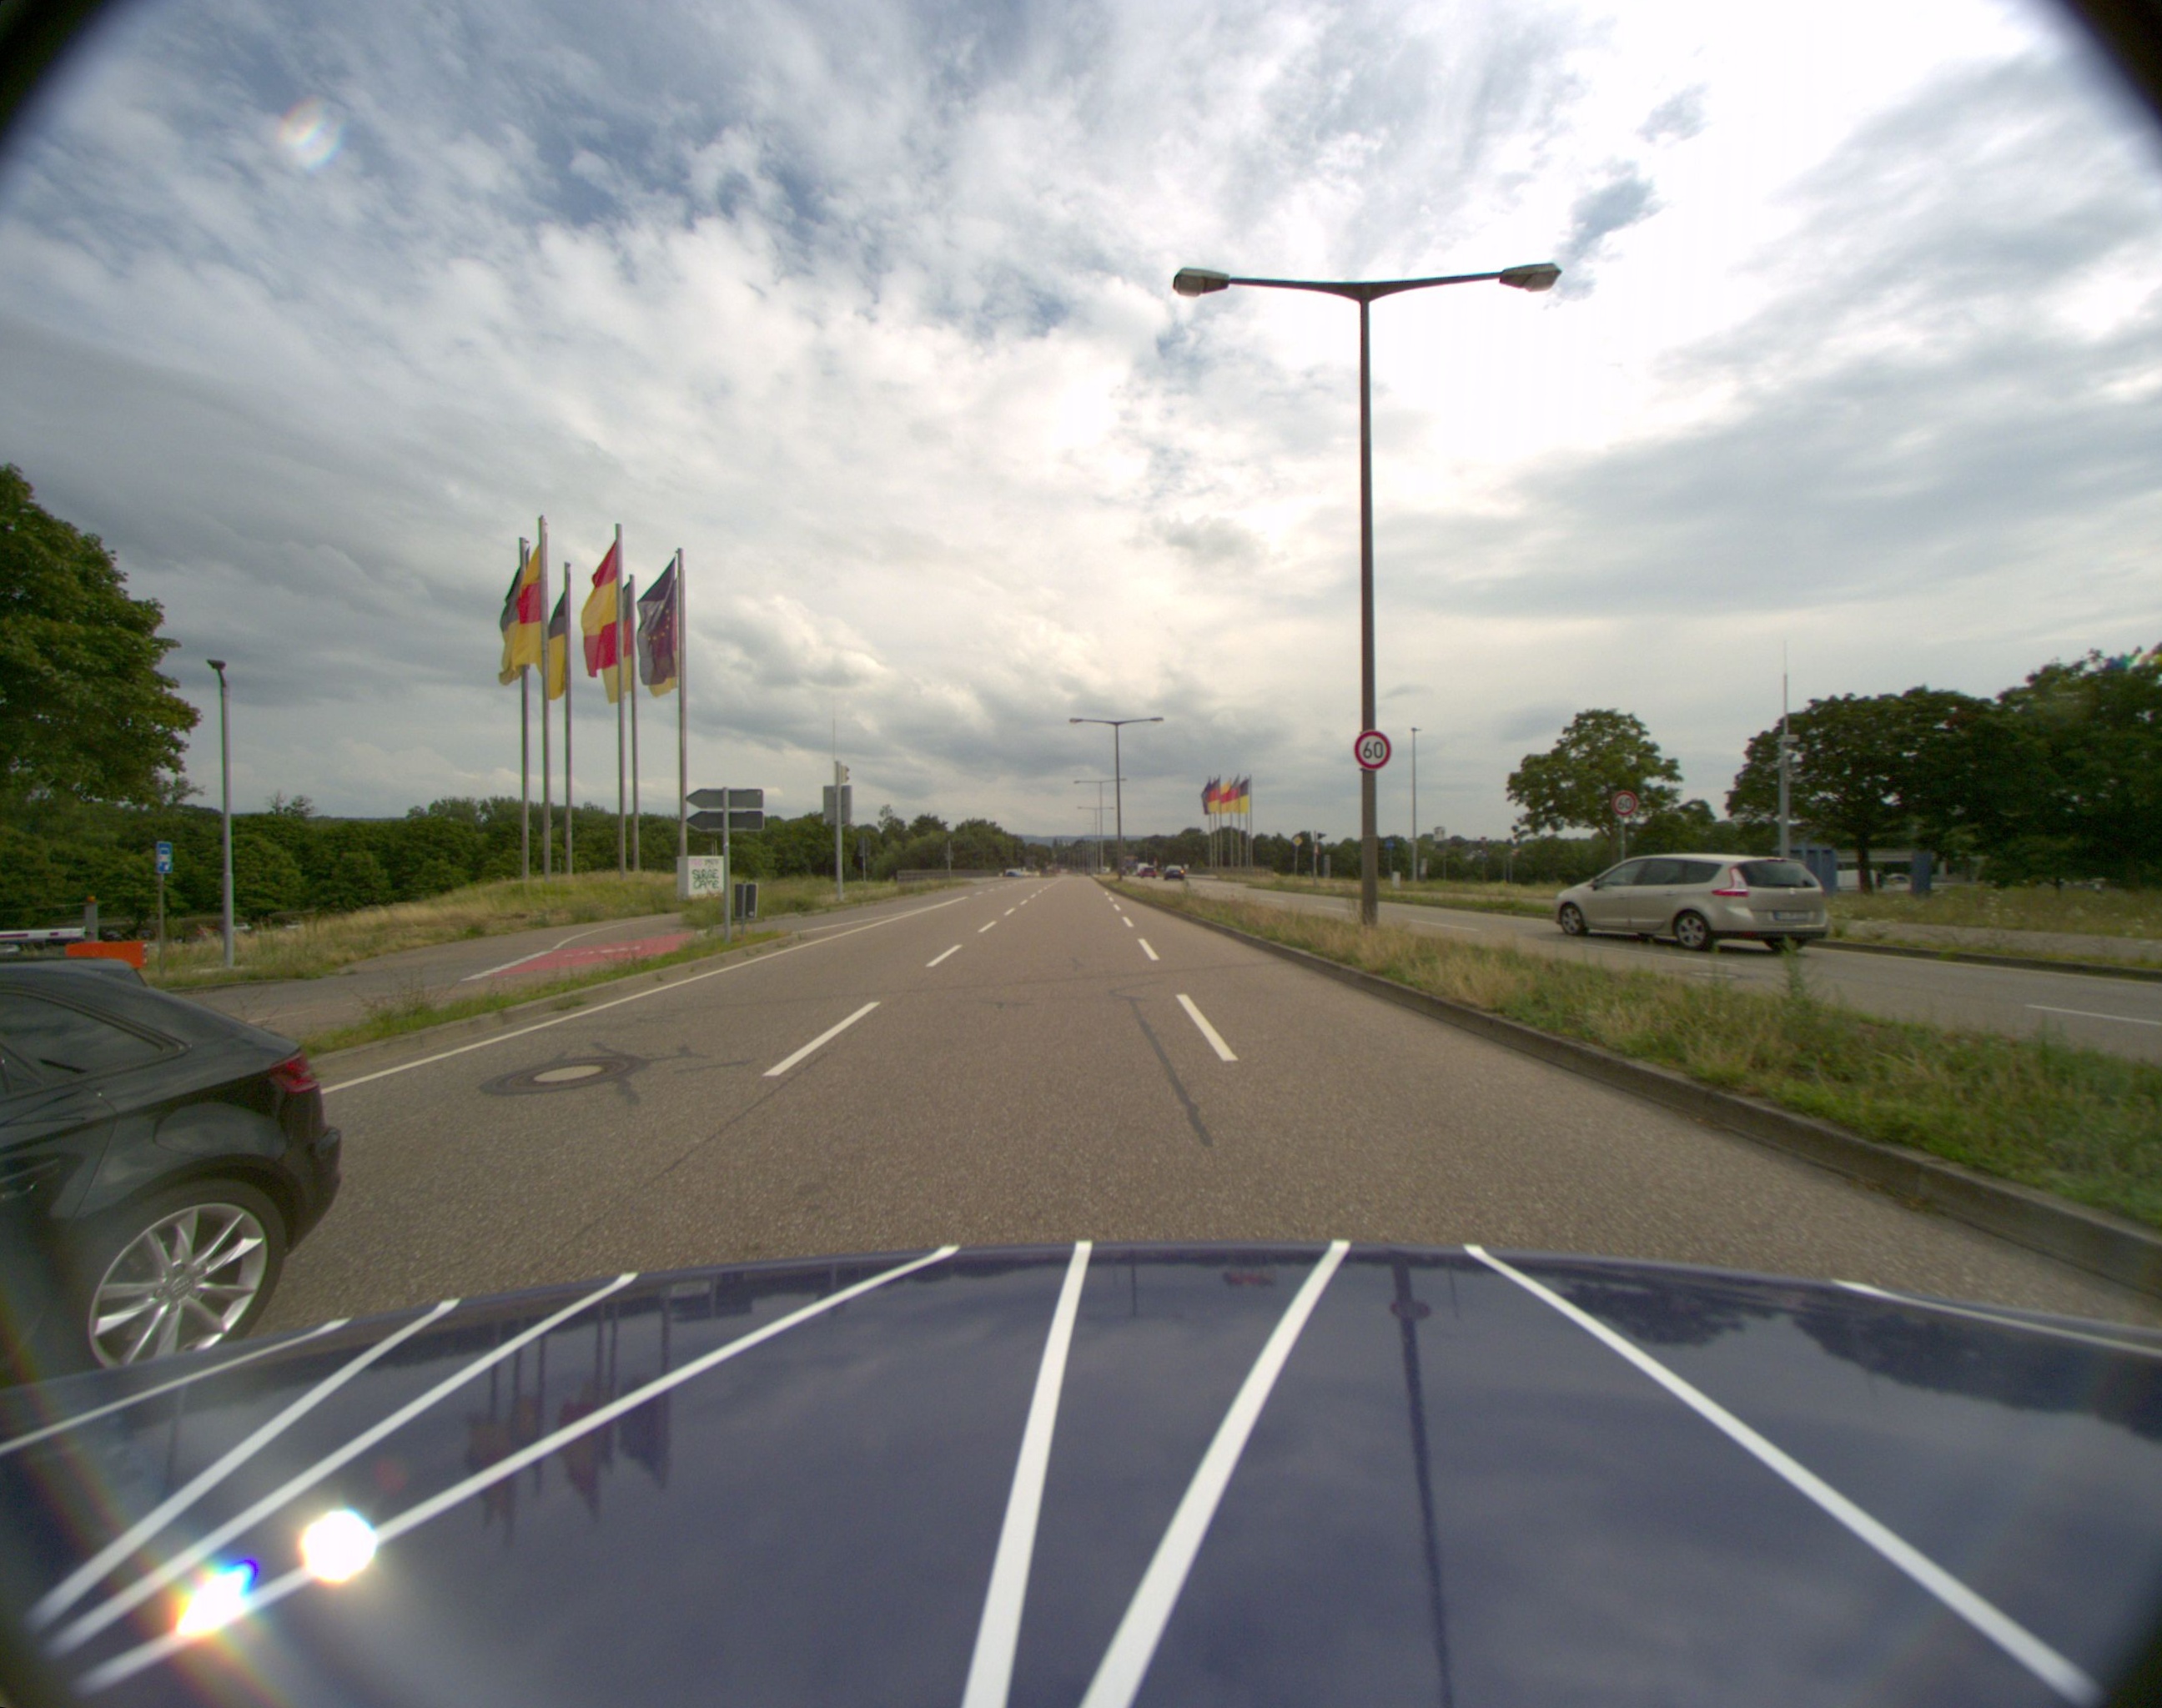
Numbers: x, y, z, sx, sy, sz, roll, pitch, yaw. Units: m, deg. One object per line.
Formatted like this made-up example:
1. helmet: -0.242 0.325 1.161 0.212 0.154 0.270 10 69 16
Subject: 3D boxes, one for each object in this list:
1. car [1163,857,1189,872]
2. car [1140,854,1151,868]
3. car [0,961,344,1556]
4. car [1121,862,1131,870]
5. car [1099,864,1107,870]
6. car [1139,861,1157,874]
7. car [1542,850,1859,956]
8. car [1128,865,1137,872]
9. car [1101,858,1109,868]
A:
1. car: 9.223 1.016 74.020 1.750 1.467 4.564 0 0 -2
2. car: 12.550 1.421 147.620 2.057 2.627 6.403 1 -1 4
3. car: -3.611 1.110 0.763 1.735 1.387 4.114 -2 0 -1
4. car: 9.175 2.528 154.742 1.751 1.576 4.587 1 -1 1
5. car: 5.692 3.276 196.459 1.743 1.472 4.776 1 -1 0
6. car: 8.468 1.740 96.121 1.656 1.565 4.337 2 0 -2
7. car: 10.740 0.750 13.730 1.750 1.589 4.563 0 0 -5
8. car: 12.089 3.366 179.326 1.743 1.472 4.471 1 -1 0
9. car: 4.858 1.855 153.913 1.543 1.860 3.571 1 -1 1
